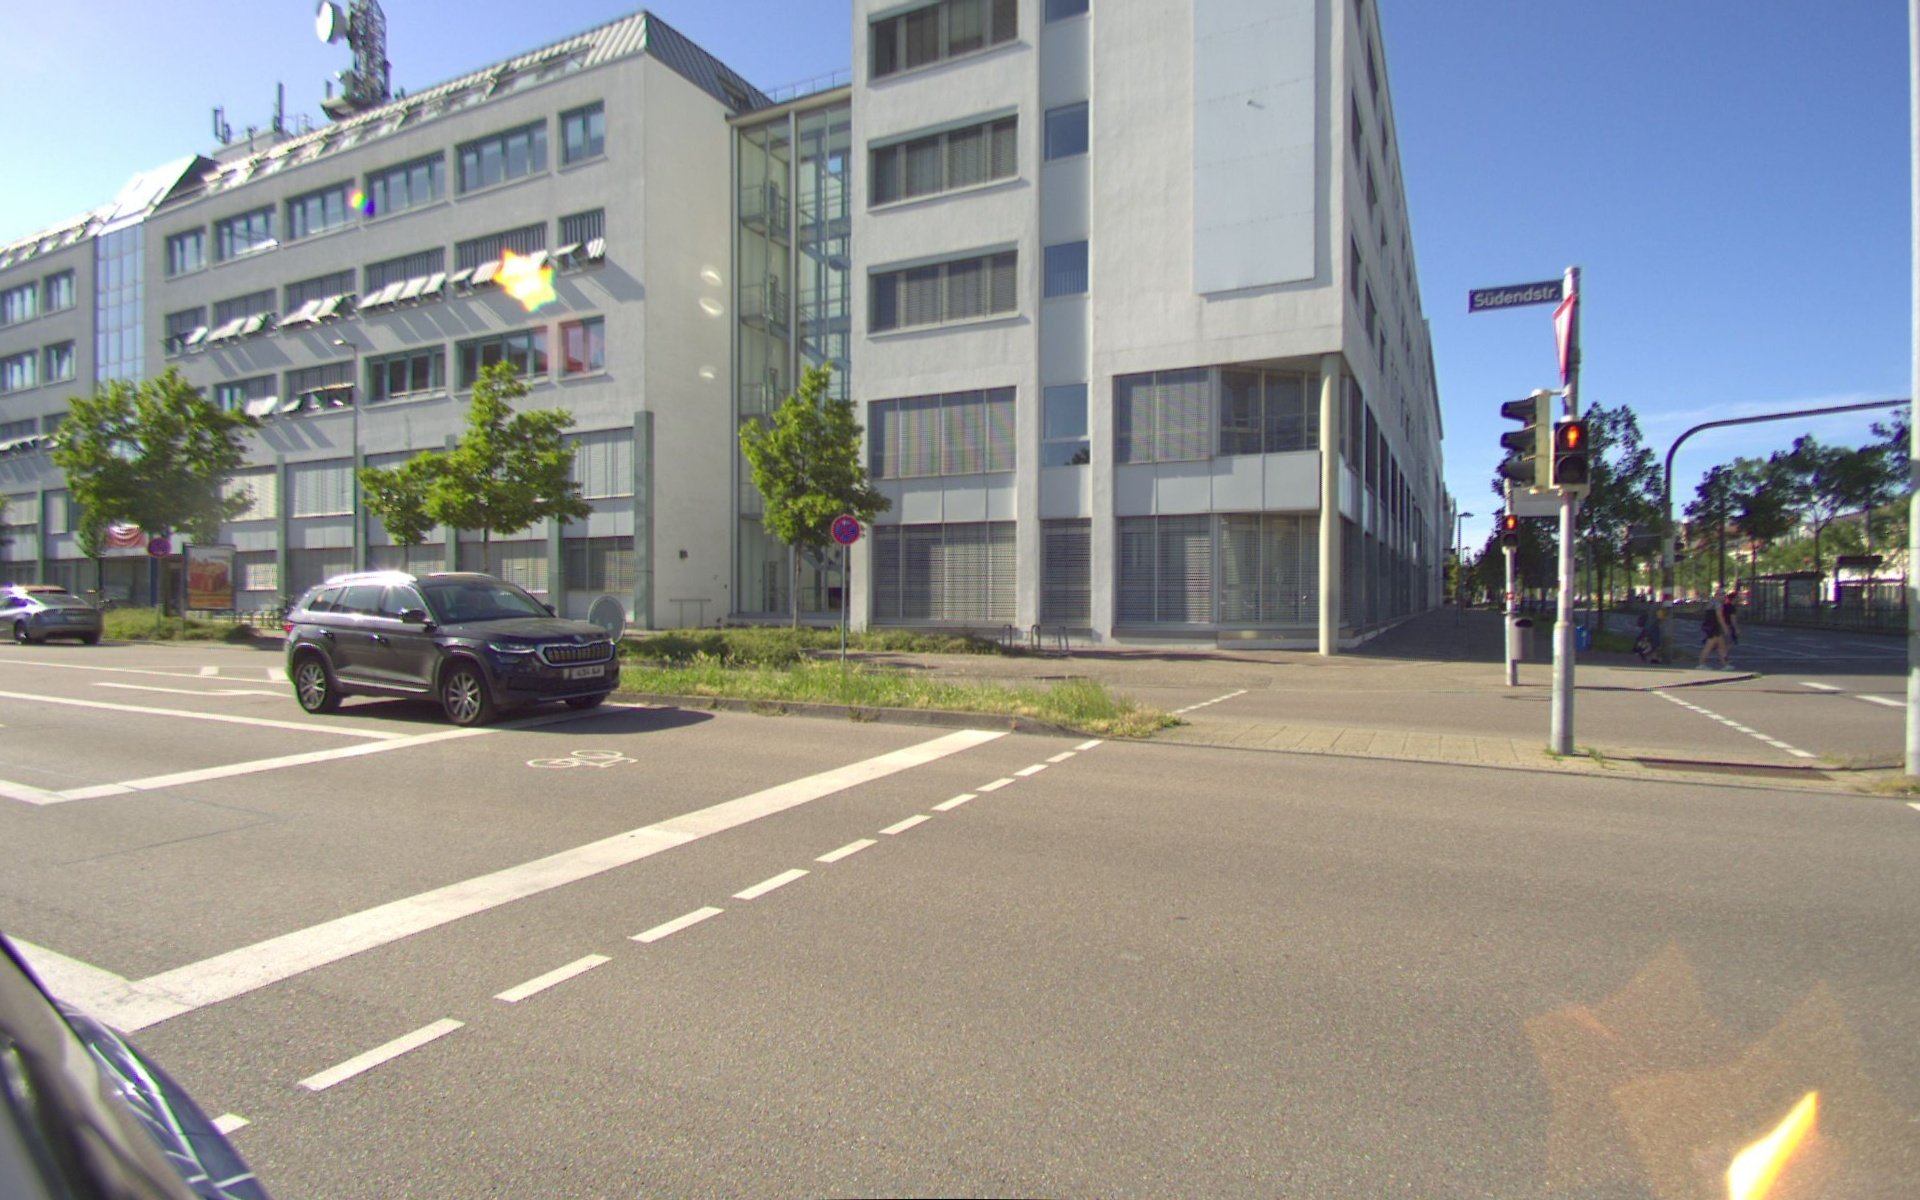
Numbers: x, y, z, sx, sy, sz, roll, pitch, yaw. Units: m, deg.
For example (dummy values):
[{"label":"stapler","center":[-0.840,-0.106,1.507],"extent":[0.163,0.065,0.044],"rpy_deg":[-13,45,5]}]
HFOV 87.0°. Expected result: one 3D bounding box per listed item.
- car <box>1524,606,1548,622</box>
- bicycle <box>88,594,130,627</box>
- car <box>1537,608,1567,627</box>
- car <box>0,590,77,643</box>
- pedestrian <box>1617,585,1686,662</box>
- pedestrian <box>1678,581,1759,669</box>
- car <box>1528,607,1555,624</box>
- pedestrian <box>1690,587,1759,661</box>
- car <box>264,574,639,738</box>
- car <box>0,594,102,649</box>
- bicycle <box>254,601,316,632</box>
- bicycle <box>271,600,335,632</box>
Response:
[{"label":"car","center":[57.302,1.408,100.709],"extent":[1.772,1.531,3.966],"rpy_deg":[0,0,25]},{"label":"bicycle","center":[-35.343,0.424,42.040],"extent":[2.226,1.357,0.703],"rpy_deg":[0,-1,33]},{"label":"car","center":[48.624,1.405,83.201],"extent":[1.772,1.531,3.966],"rpy_deg":[0,0,25]},{"label":"car","center":[-31.469,0.505,33.500],"extent":[4.283,1.619,1.681],"rpy_deg":[0,2,23]},{"label":"pedestrian","center":[15.904,0.534,23.290],"extent":[1.146,1.739,0.807],"rpy_deg":[0,-1,23]},{"label":"pedestrian","center":[15.467,0.502,20.668],"extent":[1.146,1.739,0.807],"rpy_deg":[0,-1,23]},{"label":"car","center":[52.572,1.388,91.475],"extent":[1.772,1.531,3.966],"rpy_deg":[0,0,25]},{"label":"pedestrian","center":[18.571,0.577,24.599],"extent":[1.146,1.739,0.807],"rpy_deg":[0,-1,23]},{"label":"car","center":[-6.123,0.538,12.097],"extent":[4.457,1.640,1.743],"rpy_deg":[0,2,28]},{"label":"car","center":[-26.977,0.592,29.172],"extent":[4.520,1.479,1.679],"rpy_deg":[0,-1,25]},{"label":"bicycle","center":[-23.911,0.593,35.888],"extent":[0.554,1.077,1.752],"rpy_deg":[0,-1,35]},{"label":"bicycle","center":[-23.149,0.563,35.689],"extent":[0.620,1.077,1.773],"rpy_deg":[0,-1,35]}]
